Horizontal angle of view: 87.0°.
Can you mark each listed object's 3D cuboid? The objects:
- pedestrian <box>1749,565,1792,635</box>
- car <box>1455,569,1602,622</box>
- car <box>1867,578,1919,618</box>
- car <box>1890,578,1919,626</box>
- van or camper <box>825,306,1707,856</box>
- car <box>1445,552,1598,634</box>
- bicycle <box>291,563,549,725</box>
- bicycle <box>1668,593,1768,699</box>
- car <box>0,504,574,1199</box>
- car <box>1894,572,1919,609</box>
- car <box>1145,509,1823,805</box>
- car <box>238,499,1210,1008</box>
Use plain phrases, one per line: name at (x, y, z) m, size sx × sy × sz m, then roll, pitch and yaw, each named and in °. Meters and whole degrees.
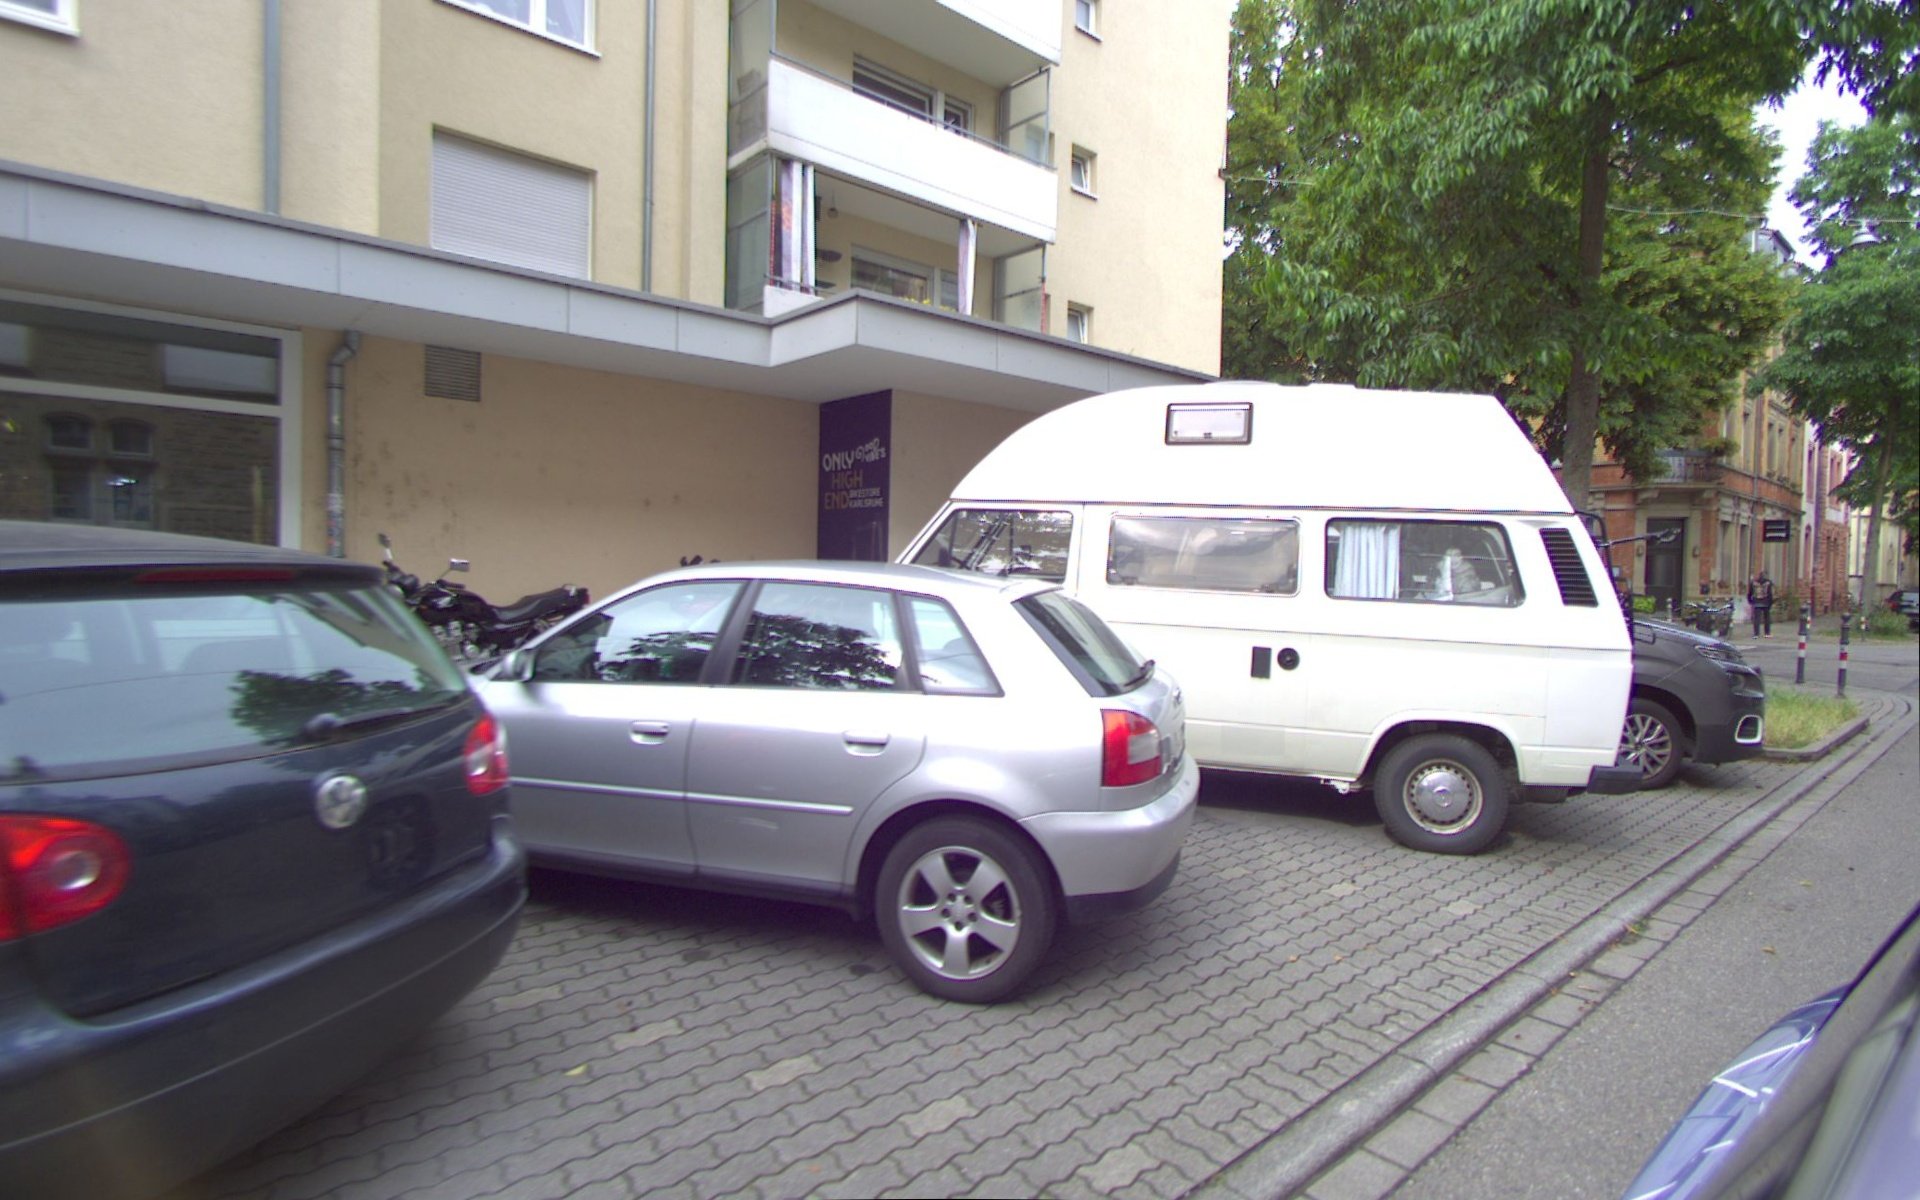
pedestrian at (21.596, -0.010, 26.958) m, size 0.500 × 1.819 × 0.781 m, roll 0°, pitch 1°, yaw -39°
car at (18.353, -0.204, 32.806) m, size 1.629 × 1.559 × 3.836 m, roll -1°, pitch 3°, yaw -34°
car at (38.050, 0.000, 38.846) m, size 4.383 × 1.444 × 1.751 m, roll 4°, pitch 3°, yaw 16°
car at (32.940, 0.080, 34.159) m, size 4.402 × 1.504 × 1.768 m, roll 0°, pitch 4°, yaw -41°
van or camper at (1.621, -0.179, 6.423) m, size 4.534 × 2.628 × 1.901 m, roll 2°, pitch 2°, yaw 17°
car at (13.610, -0.202, 24.467) m, size 3.926 × 1.841 × 1.776 m, roll 0°, pitch 2°, yaw -37°
bicycle at (-4.060, 0.283, 7.692) m, size 1.670 × 1.103 × 0.486 m, roll -1°, pitch 4°, yaw -39°
bicycle at (8.952, 0.501, 12.010) m, size 0.602 × 1.108 × 1.770 m, roll 2°, pitch 2°, yaw 26°
car at (-3.114, 0.469, 2.679) m, size 3.618 × 1.498 × 1.681 m, roll 4°, pitch 3°, yaw 17°
car at (40.591, -0.321, 40.953) m, size 3.646 × 1.484 × 1.696 m, roll 2°, pitch 2°, yaw 18°
car at (3.849, 0.268, 8.174) m, size 4.300 × 1.877 × 1.895 m, roll 2°, pitch 2°, yaw 25°
car at (-0.881, 0.407, 4.449) m, size 3.762 × 1.434 × 1.718 m, roll 4°, pitch 3°, yaw 14°
